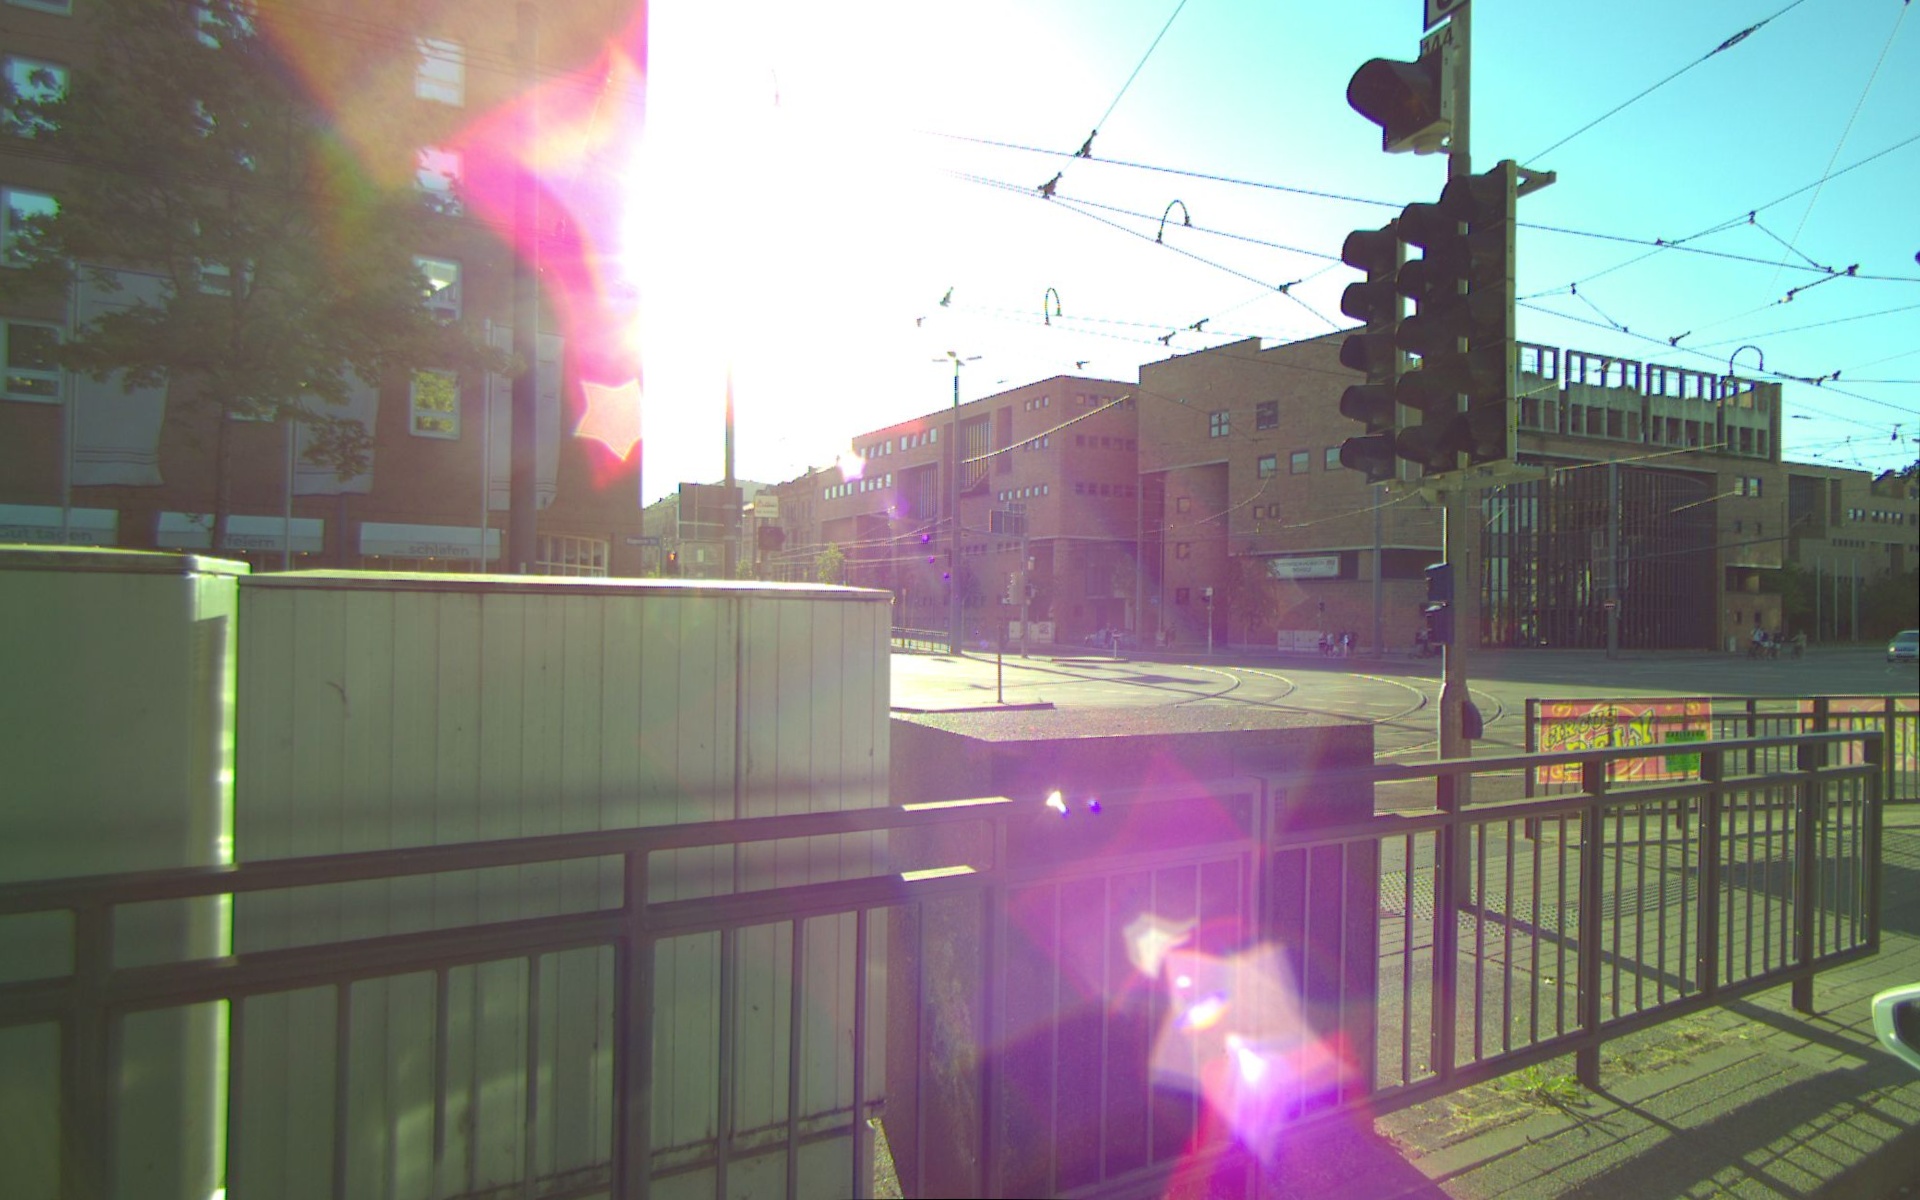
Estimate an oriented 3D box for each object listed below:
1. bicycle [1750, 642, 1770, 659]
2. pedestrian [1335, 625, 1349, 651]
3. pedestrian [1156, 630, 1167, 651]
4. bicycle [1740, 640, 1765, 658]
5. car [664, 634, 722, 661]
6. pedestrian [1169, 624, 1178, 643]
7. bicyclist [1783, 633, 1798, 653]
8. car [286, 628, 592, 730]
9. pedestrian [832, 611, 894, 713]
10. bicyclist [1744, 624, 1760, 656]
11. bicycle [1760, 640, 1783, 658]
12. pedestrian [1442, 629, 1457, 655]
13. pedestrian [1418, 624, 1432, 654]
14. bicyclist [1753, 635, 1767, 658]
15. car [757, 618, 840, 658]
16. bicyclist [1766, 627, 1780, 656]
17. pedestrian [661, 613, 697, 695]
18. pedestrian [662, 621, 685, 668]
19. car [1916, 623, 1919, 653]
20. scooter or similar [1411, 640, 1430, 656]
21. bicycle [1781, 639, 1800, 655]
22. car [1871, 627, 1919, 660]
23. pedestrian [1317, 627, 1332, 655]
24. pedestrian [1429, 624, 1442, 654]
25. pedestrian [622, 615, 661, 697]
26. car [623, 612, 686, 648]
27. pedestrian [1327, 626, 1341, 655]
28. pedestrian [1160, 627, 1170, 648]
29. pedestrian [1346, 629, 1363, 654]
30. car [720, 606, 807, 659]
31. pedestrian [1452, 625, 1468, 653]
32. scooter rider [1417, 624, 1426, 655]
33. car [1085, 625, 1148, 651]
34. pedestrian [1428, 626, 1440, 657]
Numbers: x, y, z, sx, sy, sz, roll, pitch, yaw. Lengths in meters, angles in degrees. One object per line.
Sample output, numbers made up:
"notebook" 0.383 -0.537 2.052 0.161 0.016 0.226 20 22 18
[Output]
"bicycle" 46.661 2.931 58.575 1.304 0.976 0.465 1 -1 -30
"pedestrian" 22.163 2.218 58.245 0.611 1.473 0.562 2 -2 -45
"pedestrian" 14.795 2.967 73.764 0.525 1.482 0.589 1 -1 -18
"bicycle" 44.492 2.746 56.386 1.568 0.976 0.539 1 -1 -30
"car" -14.340 2.521 53.893 1.729 1.372 3.960 1 -2 -36
"pedestrian" 15.631 2.451 73.603 0.549 1.445 0.556 0 -1 -2
"bicyclist" 49.134 2.541 59.443 0.574 1.194 0.503 1 -1 -30
"car" -8.412 1.234 16.607 4.250 1.508 1.751 1 -1 -24
"pedestrian" -1.663 1.037 17.153 0.709 1.669 0.953 1 -1 -30
"bicyclist" 44.415 2.251 56.340 0.574 1.754 0.534 1 -1 -30
"bicycle" 44.950 2.726 55.611 1.557 0.976 0.470 1 -1 -30
"pedestrian" 27.800 2.390 57.078 0.587 1.440 0.642 0 -1 5
"pedestrian" 26.526 2.226 57.296 0.609 1.706 0.651 0 -1 13
"bicyclist" 46.672 2.718 58.597 0.574 1.321 0.503 1 -1 -30
"car" -8.386 1.914 51.757 1.982 1.928 5.156 1 -2 -38
"bicyclist" 45.072 2.305 55.687 0.574 1.624 0.456 1 -1 -30
"pedestrian" -6.521 1.231 23.303 0.647 1.864 0.835 1 -1 -28
"pedestrian" -10.427 1.620 36.567 0.658 1.669 0.638 1 -1 -34
"car" 55.253 2.113 55.894 3.954 1.661 1.983 1 -2 -31
"scooter or similar" 25.379 2.642 55.373 0.931 0.911 0.176 0 -1 14
"bicycle" 49.171 2.777 59.445 1.332 0.976 0.449 1 -1 -30
"car" 48.984 2.226 51.780 3.954 1.661 1.983 1 -2 -31
"pedestrian" 21.128 2.366 58.248 0.582 1.635 0.593 1 -1 -31
"pedestrian" 27.690 2.282 58.497 0.538 1.706 0.574 0 -1 7
"pedestrian" -7.363 1.271 23.218 0.713 1.837 0.904 1 -1 -28
"car" -18.790 1.817 61.572 1.982 2.122 5.156 1 -2 -38
"pedestrian" 21.355 2.322 57.355 0.543 1.670 0.596 1 -1 -30
"pedestrian" 14.610 2.649 71.542 0.463 1.482 0.505 1 -1 -37
"pedestrian" 22.256 2.342 56.701 0.670 1.357 0.603 1 -1 -14
"car" -9.456 1.522 47.953 1.982 2.419 5.156 1 -2 -38
"pedestrian" 28.732 2.239 57.764 0.606 1.647 0.612 0 -1 -4
"scooter rider" 25.427 2.165 55.376 0.429 1.669 0.229 0 -1 15
"car" 10.140 2.467 65.311 1.986 1.595 3.679 1 -2 -39
"pedestrian" 26.453 2.303 56.030 0.540 1.706 0.592 0 -1 18
